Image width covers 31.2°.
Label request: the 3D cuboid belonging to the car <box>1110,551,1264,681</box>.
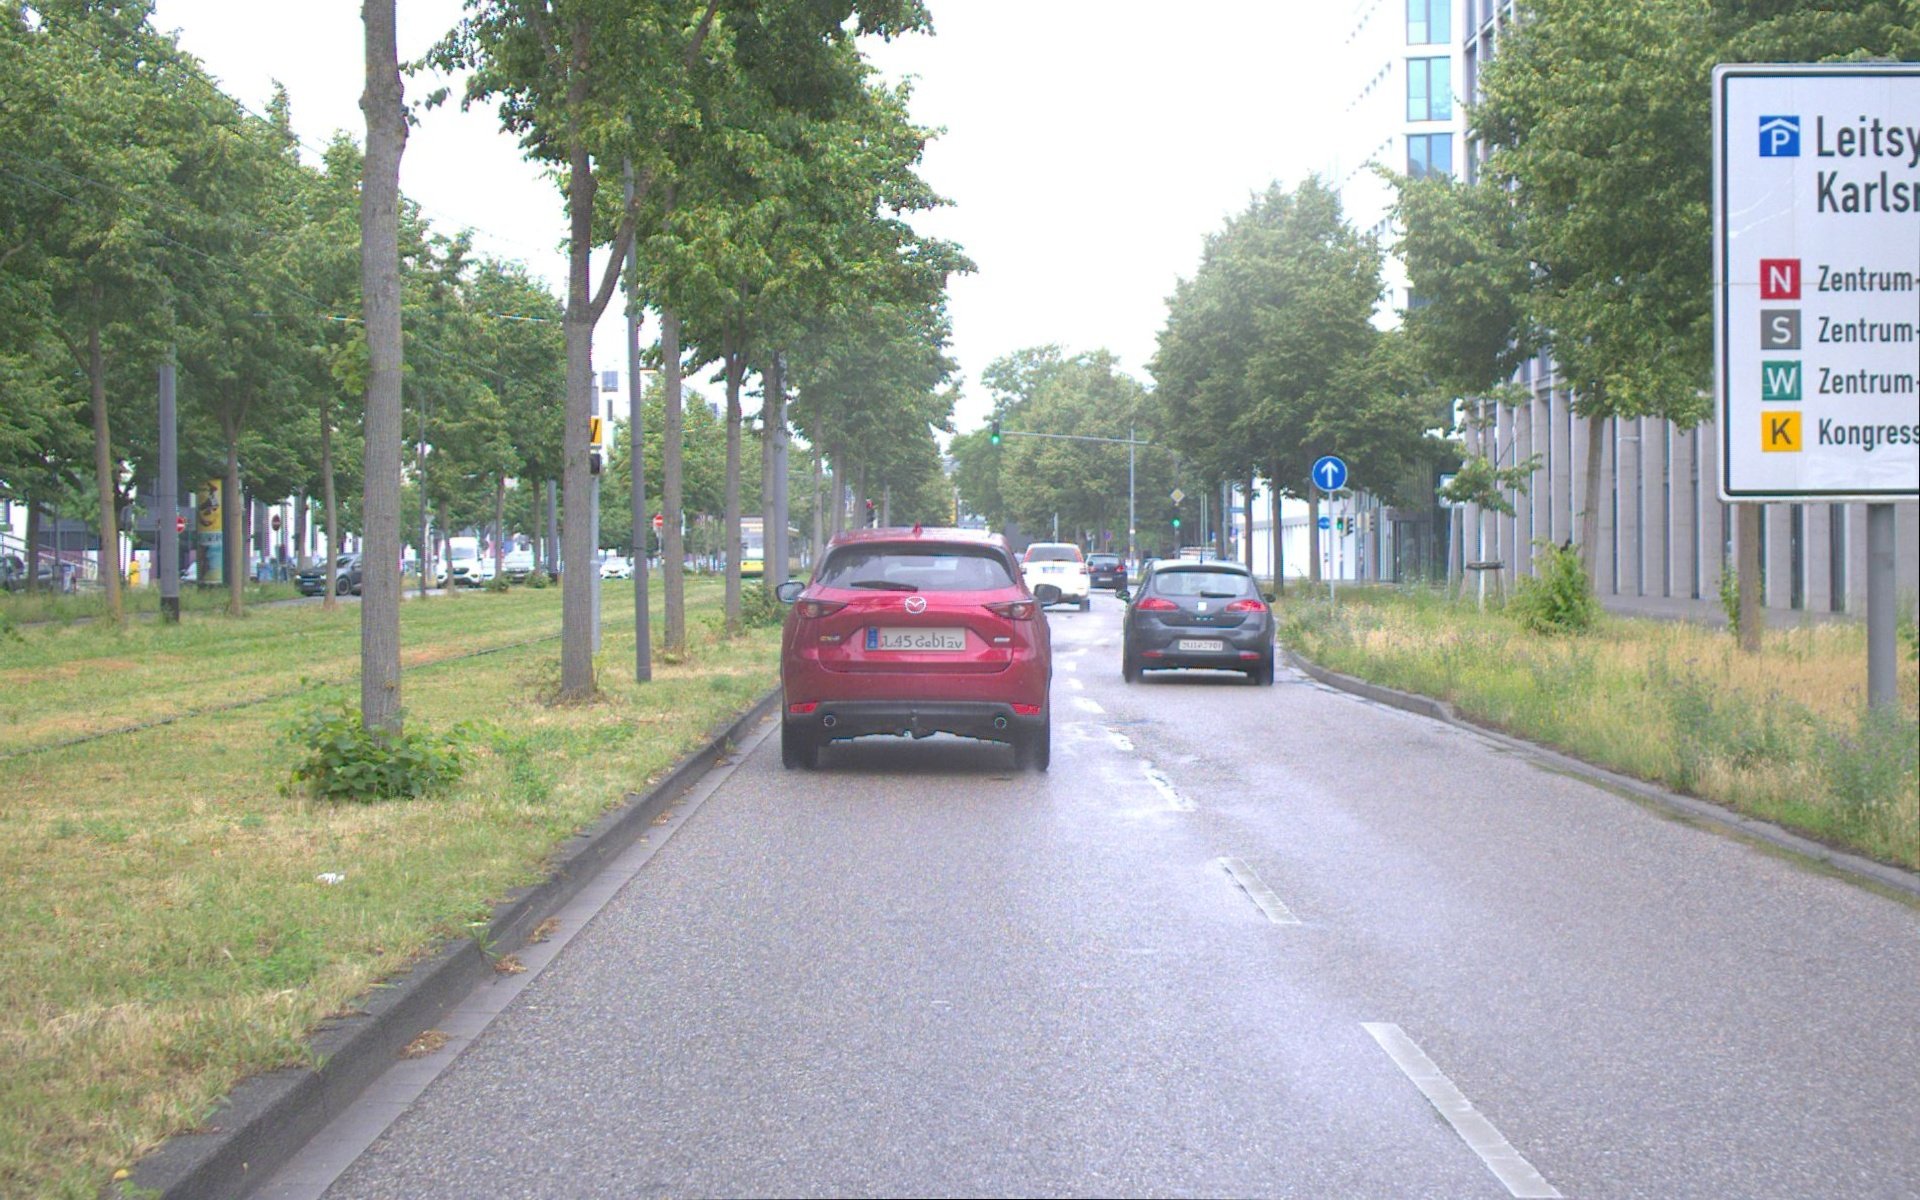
[{"bbox_3d":[2.703,0.156,41.049,1.744,1.460,3.781,0,1,4],"label":"car"}]

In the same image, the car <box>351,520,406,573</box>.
[{"bbox_3d":[-28.763,-2.651,170.094,2.255,2.553,4.656,0,1,-4],"label":"car"}]

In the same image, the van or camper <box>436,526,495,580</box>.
[{"bbox_3d":[-22.610,-2.151,157.421,1.909,2.402,5.402,0,1,0],"label":"van or camper"}]

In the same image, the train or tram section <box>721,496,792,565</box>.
[{"bbox_3d":[-10.992,-3.767,187.118,3.129,3.646,13.407,0,1,0],"label":"train or tram section"}]

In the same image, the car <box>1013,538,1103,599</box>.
[{"bbox_3d":[2.421,-0.804,85.886,1.967,1.432,4.553,1,1,-2],"label":"car"}]

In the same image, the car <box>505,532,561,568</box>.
[{"bbox_3d":[-18.495,-2.179,149.088,1.863,1.519,4.479,0,1,0],"label":"car"}]

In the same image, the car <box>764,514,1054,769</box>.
[{"bbox_3d":[-0.366,0.237,24.608,1.898,1.671,4.000,0,1,-1],"label":"car"}]

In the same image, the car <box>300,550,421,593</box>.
[{"bbox_3d":[-21.953,-1.053,126.055,1.996,1.516,4.674,1,1,27],"label":"car"}]
